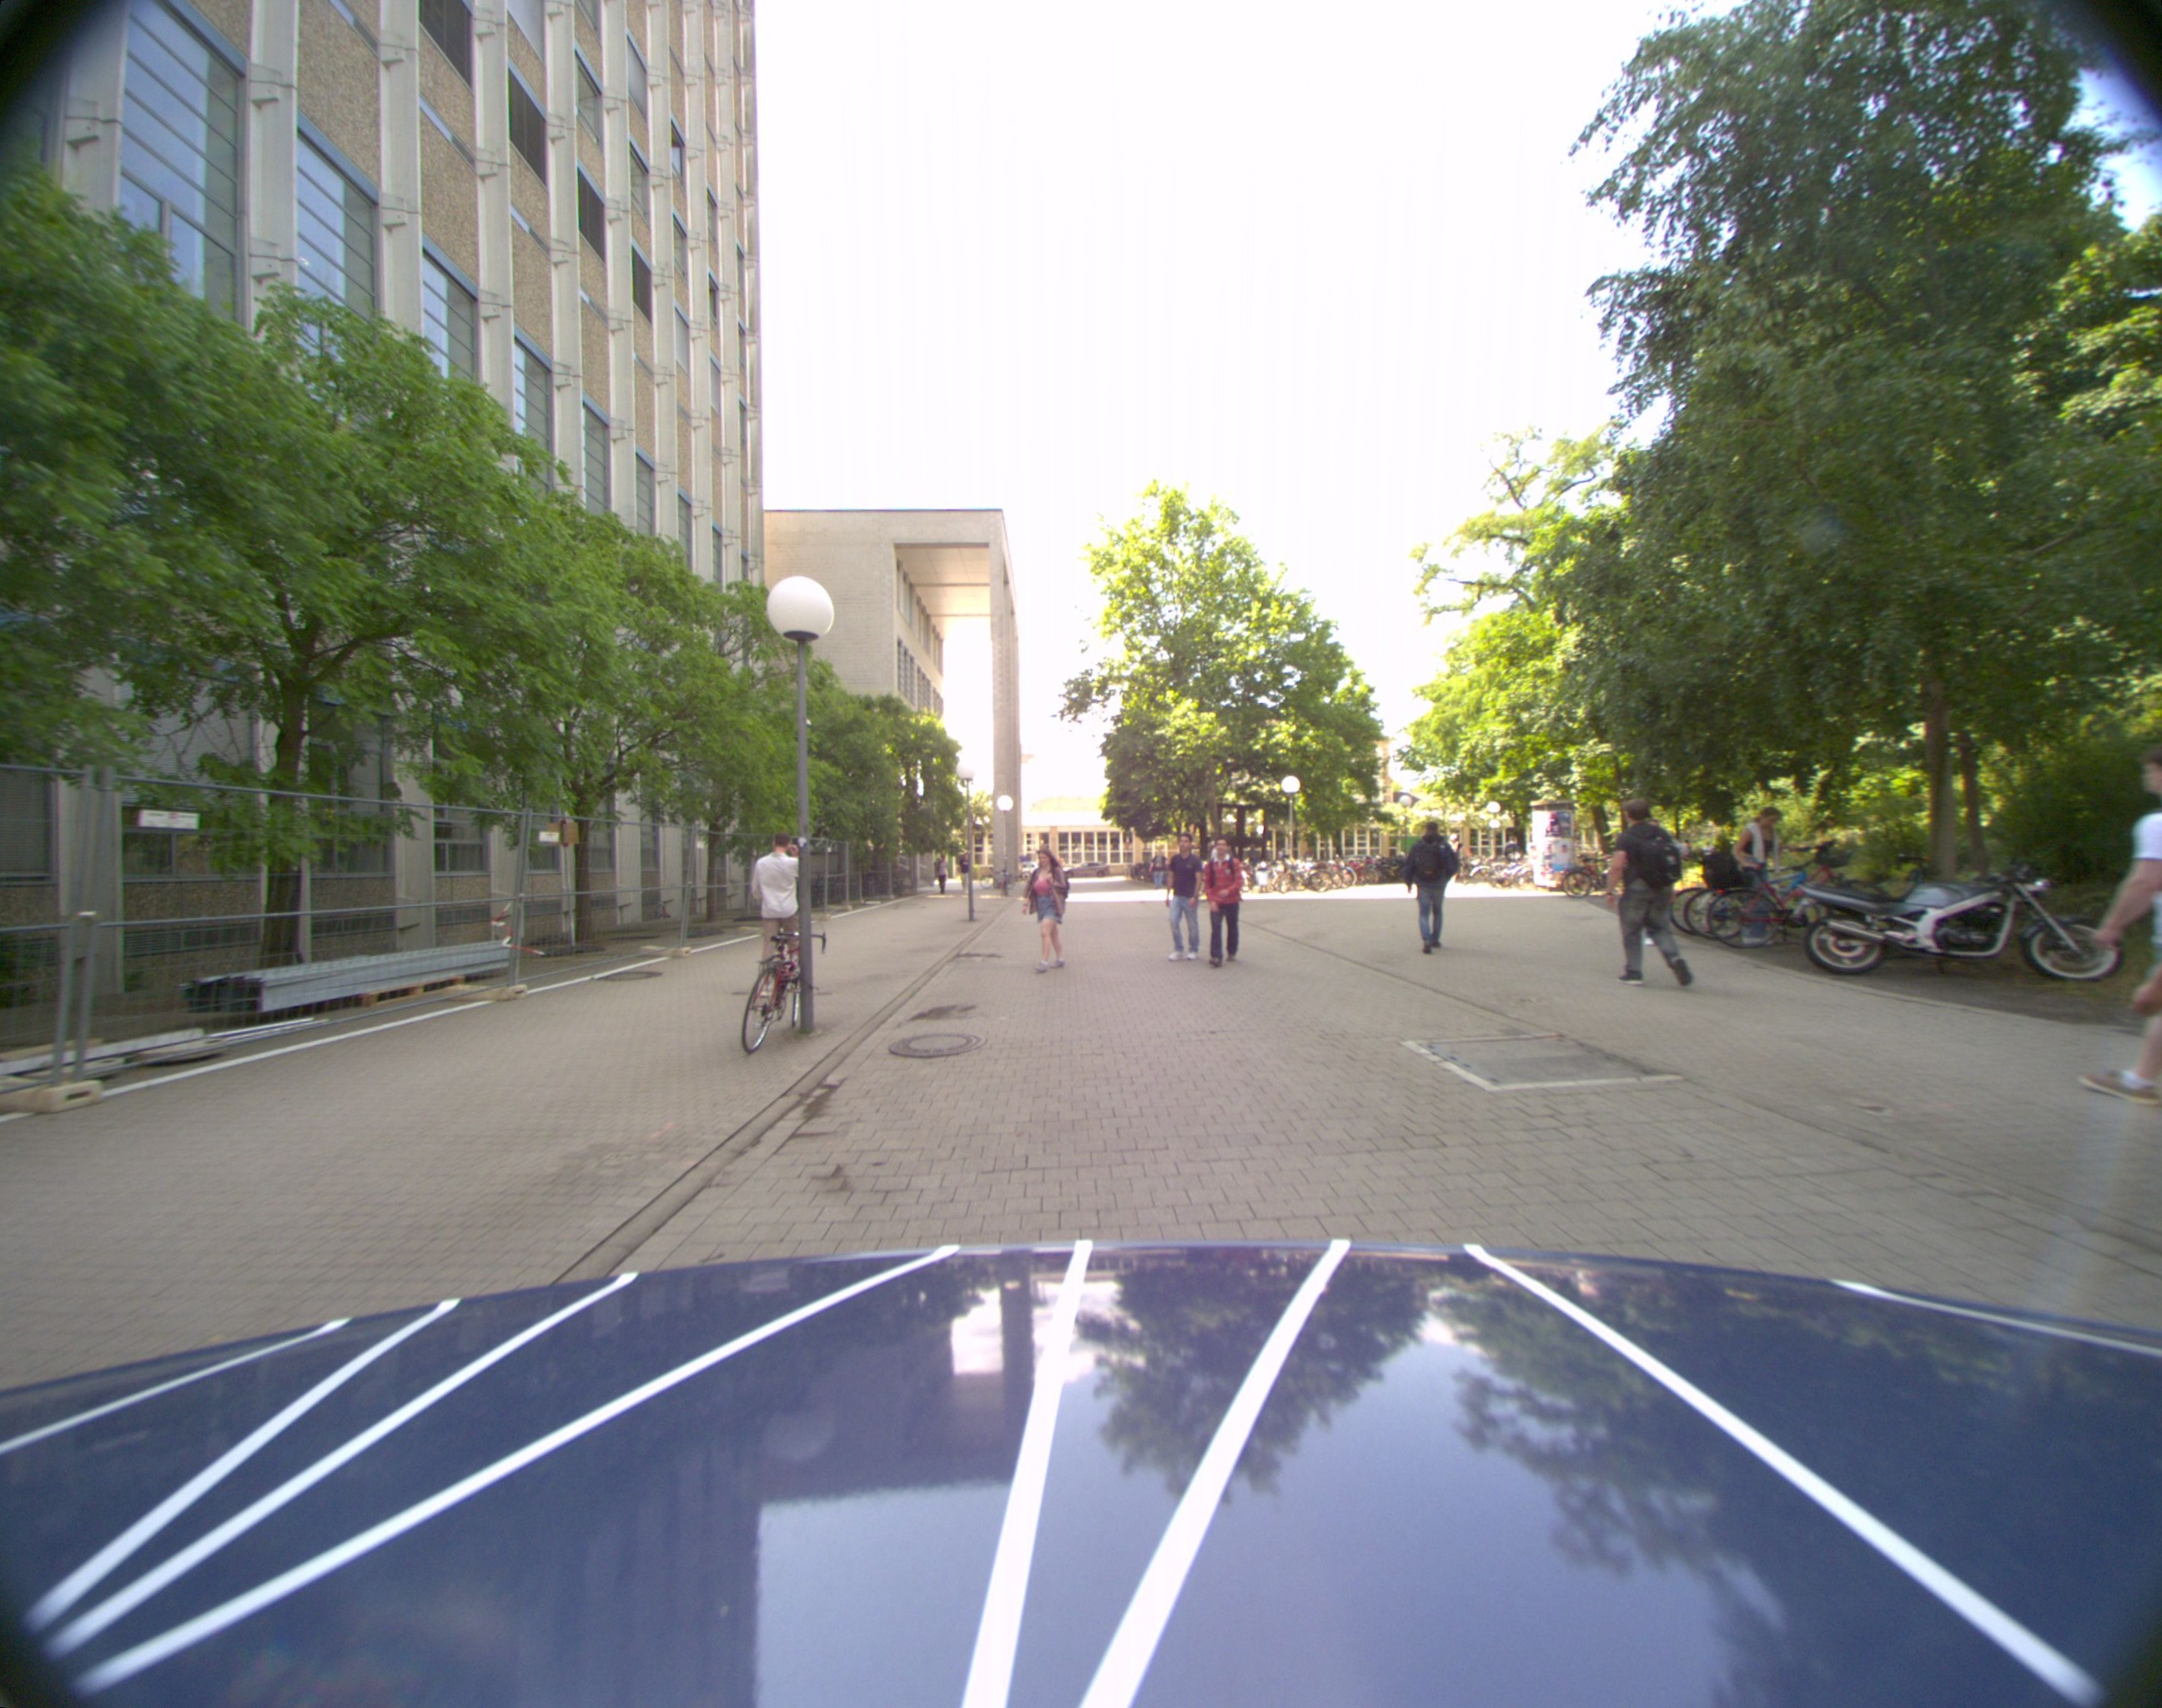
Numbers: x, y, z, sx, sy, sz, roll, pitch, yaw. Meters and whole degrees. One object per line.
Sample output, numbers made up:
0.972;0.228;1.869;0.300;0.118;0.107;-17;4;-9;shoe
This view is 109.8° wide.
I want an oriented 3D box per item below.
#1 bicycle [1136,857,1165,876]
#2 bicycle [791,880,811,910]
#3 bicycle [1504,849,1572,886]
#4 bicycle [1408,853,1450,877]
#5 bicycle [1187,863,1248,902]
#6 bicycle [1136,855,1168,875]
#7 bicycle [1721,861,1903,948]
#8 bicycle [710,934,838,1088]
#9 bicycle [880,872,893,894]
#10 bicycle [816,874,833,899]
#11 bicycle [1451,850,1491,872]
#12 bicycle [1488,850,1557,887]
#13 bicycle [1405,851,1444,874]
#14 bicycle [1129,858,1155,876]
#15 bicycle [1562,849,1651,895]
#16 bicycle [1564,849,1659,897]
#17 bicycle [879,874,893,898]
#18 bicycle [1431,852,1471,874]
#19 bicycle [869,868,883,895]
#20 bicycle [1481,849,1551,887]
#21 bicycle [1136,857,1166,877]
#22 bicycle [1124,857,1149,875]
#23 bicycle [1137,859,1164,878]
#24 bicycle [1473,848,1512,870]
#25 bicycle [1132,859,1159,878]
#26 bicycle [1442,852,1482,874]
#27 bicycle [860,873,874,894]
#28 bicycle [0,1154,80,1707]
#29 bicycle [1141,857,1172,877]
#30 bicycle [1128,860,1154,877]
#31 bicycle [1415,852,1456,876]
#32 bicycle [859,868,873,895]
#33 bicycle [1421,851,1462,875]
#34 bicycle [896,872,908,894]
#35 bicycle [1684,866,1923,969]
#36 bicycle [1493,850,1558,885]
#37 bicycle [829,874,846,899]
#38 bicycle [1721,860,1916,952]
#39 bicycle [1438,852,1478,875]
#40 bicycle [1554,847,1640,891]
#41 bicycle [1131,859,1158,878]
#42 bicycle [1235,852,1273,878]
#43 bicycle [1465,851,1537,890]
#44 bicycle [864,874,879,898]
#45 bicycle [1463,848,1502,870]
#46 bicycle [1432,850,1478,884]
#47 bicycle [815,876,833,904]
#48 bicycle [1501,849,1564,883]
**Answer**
4.150;0.751;45.610;1.629;1.101;0.644;-2;1;-6;bicycle
-9.063;1.311;24.610;0.291;0.900;1.617;-1;0;-9;bicycle
14.350;0.431;23.876;1.773;1.104;0.475;-1;1;37;bicycle
16.060;0.500;35.068;0.475;1.077;1.695;-2;1;-40;bicycle
3.986;0.842;22.208;1.697;1.077;0.604;-1;1;9;bicycle
4.210;0.654;44.976;1.785;1.155;0.497;-2;1;-6;bicycle
9.558;0.622;9.993;0.475;1.041;1.695;-2;1;-42;bicycle
-2.496;1.228;6.356;0.396;0.930;1.731;1;0;-2;bicycle
-8.550;1.263;33.449;0.291;0.900;1.447;-1;0;-5;bicycle
-9.989;1.260;29.613;0.291;0.900;1.447;-1;0;-5;bicycle
19.613;0.364;38.215;0.475;1.077;1.695;-2;1;-40;bicycle
13.544;0.443;23.325;1.773;1.104;0.475;-1;1;37;bicycle
16.906;0.432;37.376;0.475;1.077;1.695;-2;1;-40;bicycle
3.906;0.838;48.997;1.628;1.101;0.629;-2;1;3;bicycle
12.975;0.441;18.814;1.773;1.104;0.475;-1;1;28;bicycle
12.437;0.449;17.881;1.773;1.104;0.475;-1;1;28;bicycle
-7.673;1.242;29.893;0.291;0.900;1.447;-1;0;-5;bicycle
17.898;0.438;36.775;0.475;1.077;1.695;-2;1;-40;bicycle
-8.628;1.142;31.950;0.291;1.121;1.447;-1;0;-5;bicycle
13.126;0.423;22.953;1.773;1.104;0.475;-1;1;42;bicycle
4.097;0.745;44.478;1.629;1.101;0.497;-2;1;-6;bicycle
3.676;0.785;50.125;1.628;1.101;0.497;-2;1;4;bicycle
4.238;0.872;46.383;1.629;1.144;0.497;-2;1;-1;bicycle
21.309;0.263;39.331;0.475;1.077;1.695;-2;1;-40;bicycle
3.967;0.889;47.161;1.628;1.101;0.691;-2;1;4;bicycle
18.805;0.441;37.532;0.475;1.077;1.695;-2;1;-40;bicycle
-9.421;1.282;33.435;0.291;0.900;1.447;-1;0;-5;bicycle
-2.350;1.147;0.632;0.710;1.086;1.748;-1;0;-2;bicycle
4.324;0.730;43.523;1.724;1.101;0.719;-1;1;9;bicycle
3.894;0.951;49.562;1.628;1.101;0.497;-2;1;4;bicycle
16.616;0.476;35.674;0.475;1.077;1.695;-2;1;-40;bicycle
-9.019;1.158;31.889;0.291;1.088;1.447;-1;0;-5;bicycle
17.098;0.438;36.025;0.475;1.077;1.695;-2;1;-40;bicycle
-7.857;1.262;33.320;0.291;0.900;1.447;-1;0;-5;bicycle
8.161;0.694;8.673;0.543;1.040;1.904;-2;-1;-42;bicycle
14.556;0.447;24.883;1.773;1.104;0.475;-1;1;37;bicycle
-9.482;1.254;29.622;0.291;0.900;1.447;-1;0;-5;bicycle
9.157;0.625;9.499;0.475;1.041;1.695;-4;1;-42;bicycle
18.455;0.452;37.232;0.475;1.077;1.695;-2;1;-40;bicycle
13.306;0.393;19.635;1.773;1.104;0.475;-1;1;28;bicycle
3.992;0.908;47.883;1.628;1.101;0.497;-2;1;4;bicycle
8.245;0.519;36.272;0.577;1.193;1.695;-2;1;-41;bicycle
12.277;0.478;22.237;1.773;1.104;0.475;-1;1;42;bicycle
-8.208;1.239;29.787;0.291;0.900;1.447;-1;0;-5;bicycle
20.477;0.257;38.762;0.475;1.077;1.695;-2;1;-40;bicycle
12.948;0.439;26.301;1.848;1.104;0.473;-2;1;-31;bicycle
-9.032;1.253;26.746;0.291;0.900;1.803;-1;0;-9;bicycle
15.249;0.418;25.680;1.773;1.104;0.475;-1;1;37;bicycle
